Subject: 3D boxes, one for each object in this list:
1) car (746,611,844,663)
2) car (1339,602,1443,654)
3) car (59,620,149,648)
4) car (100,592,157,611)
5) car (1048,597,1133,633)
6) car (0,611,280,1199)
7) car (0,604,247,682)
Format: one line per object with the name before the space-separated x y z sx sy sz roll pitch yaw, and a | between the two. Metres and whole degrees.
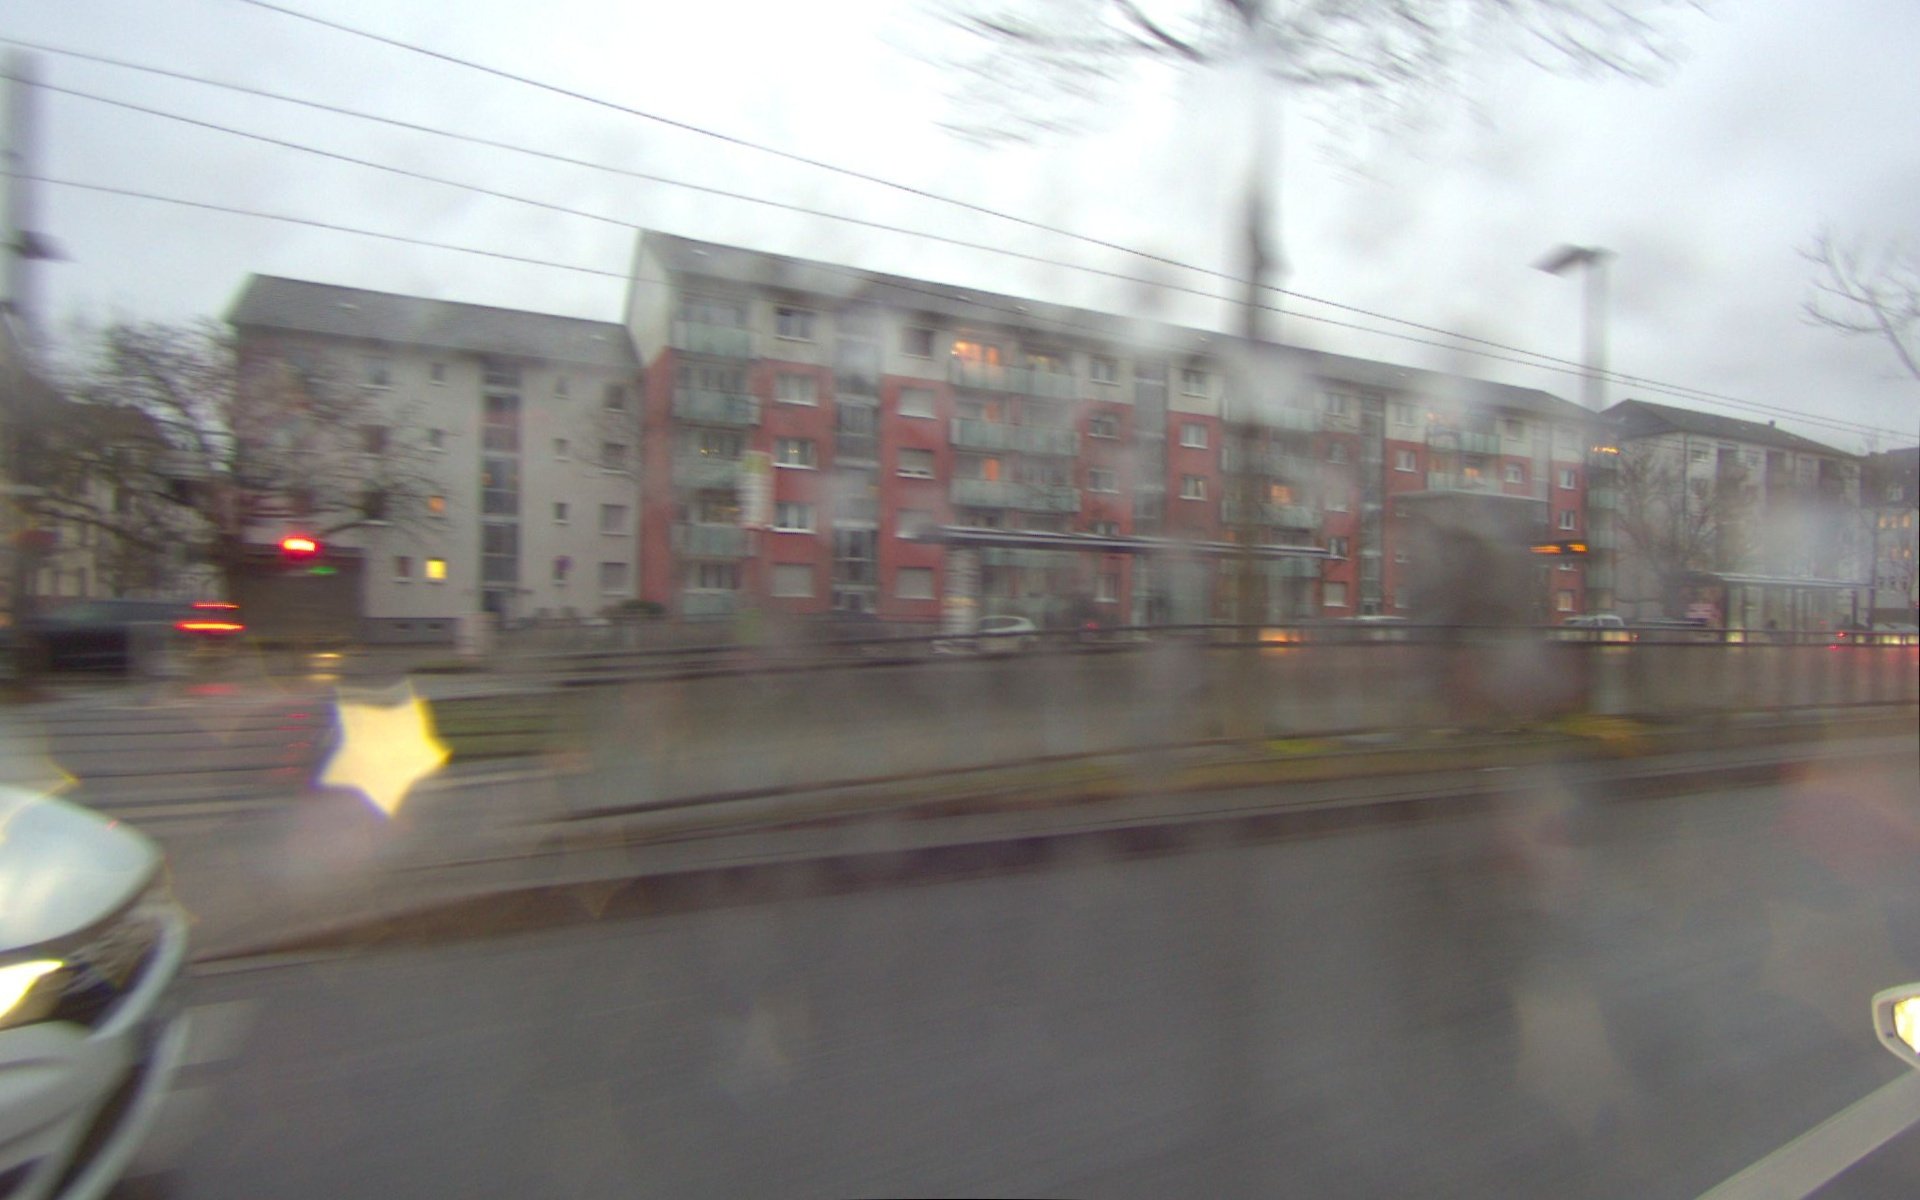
car | -5.340 1.149 32.179 1.693 1.435 3.965 2 0 -32
car | 14.522 0.941 33.790 3.712 1.661 1.512 2 -1 -35
car | -47.742 1.870 56.047 1.532 1.456 3.538 2 0 34
car | -67.708 0.138 81.875 3.377 1.456 1.417 2 0 -32
car | 5.966 0.675 45.967 3.454 1.516 1.705 2 0 -25
car | -3.492 0.751 1.476 3.953 1.485 1.700 2 0 -30
car | -16.654 0.839 19.857 3.950 1.386 1.509 2 0 -28
